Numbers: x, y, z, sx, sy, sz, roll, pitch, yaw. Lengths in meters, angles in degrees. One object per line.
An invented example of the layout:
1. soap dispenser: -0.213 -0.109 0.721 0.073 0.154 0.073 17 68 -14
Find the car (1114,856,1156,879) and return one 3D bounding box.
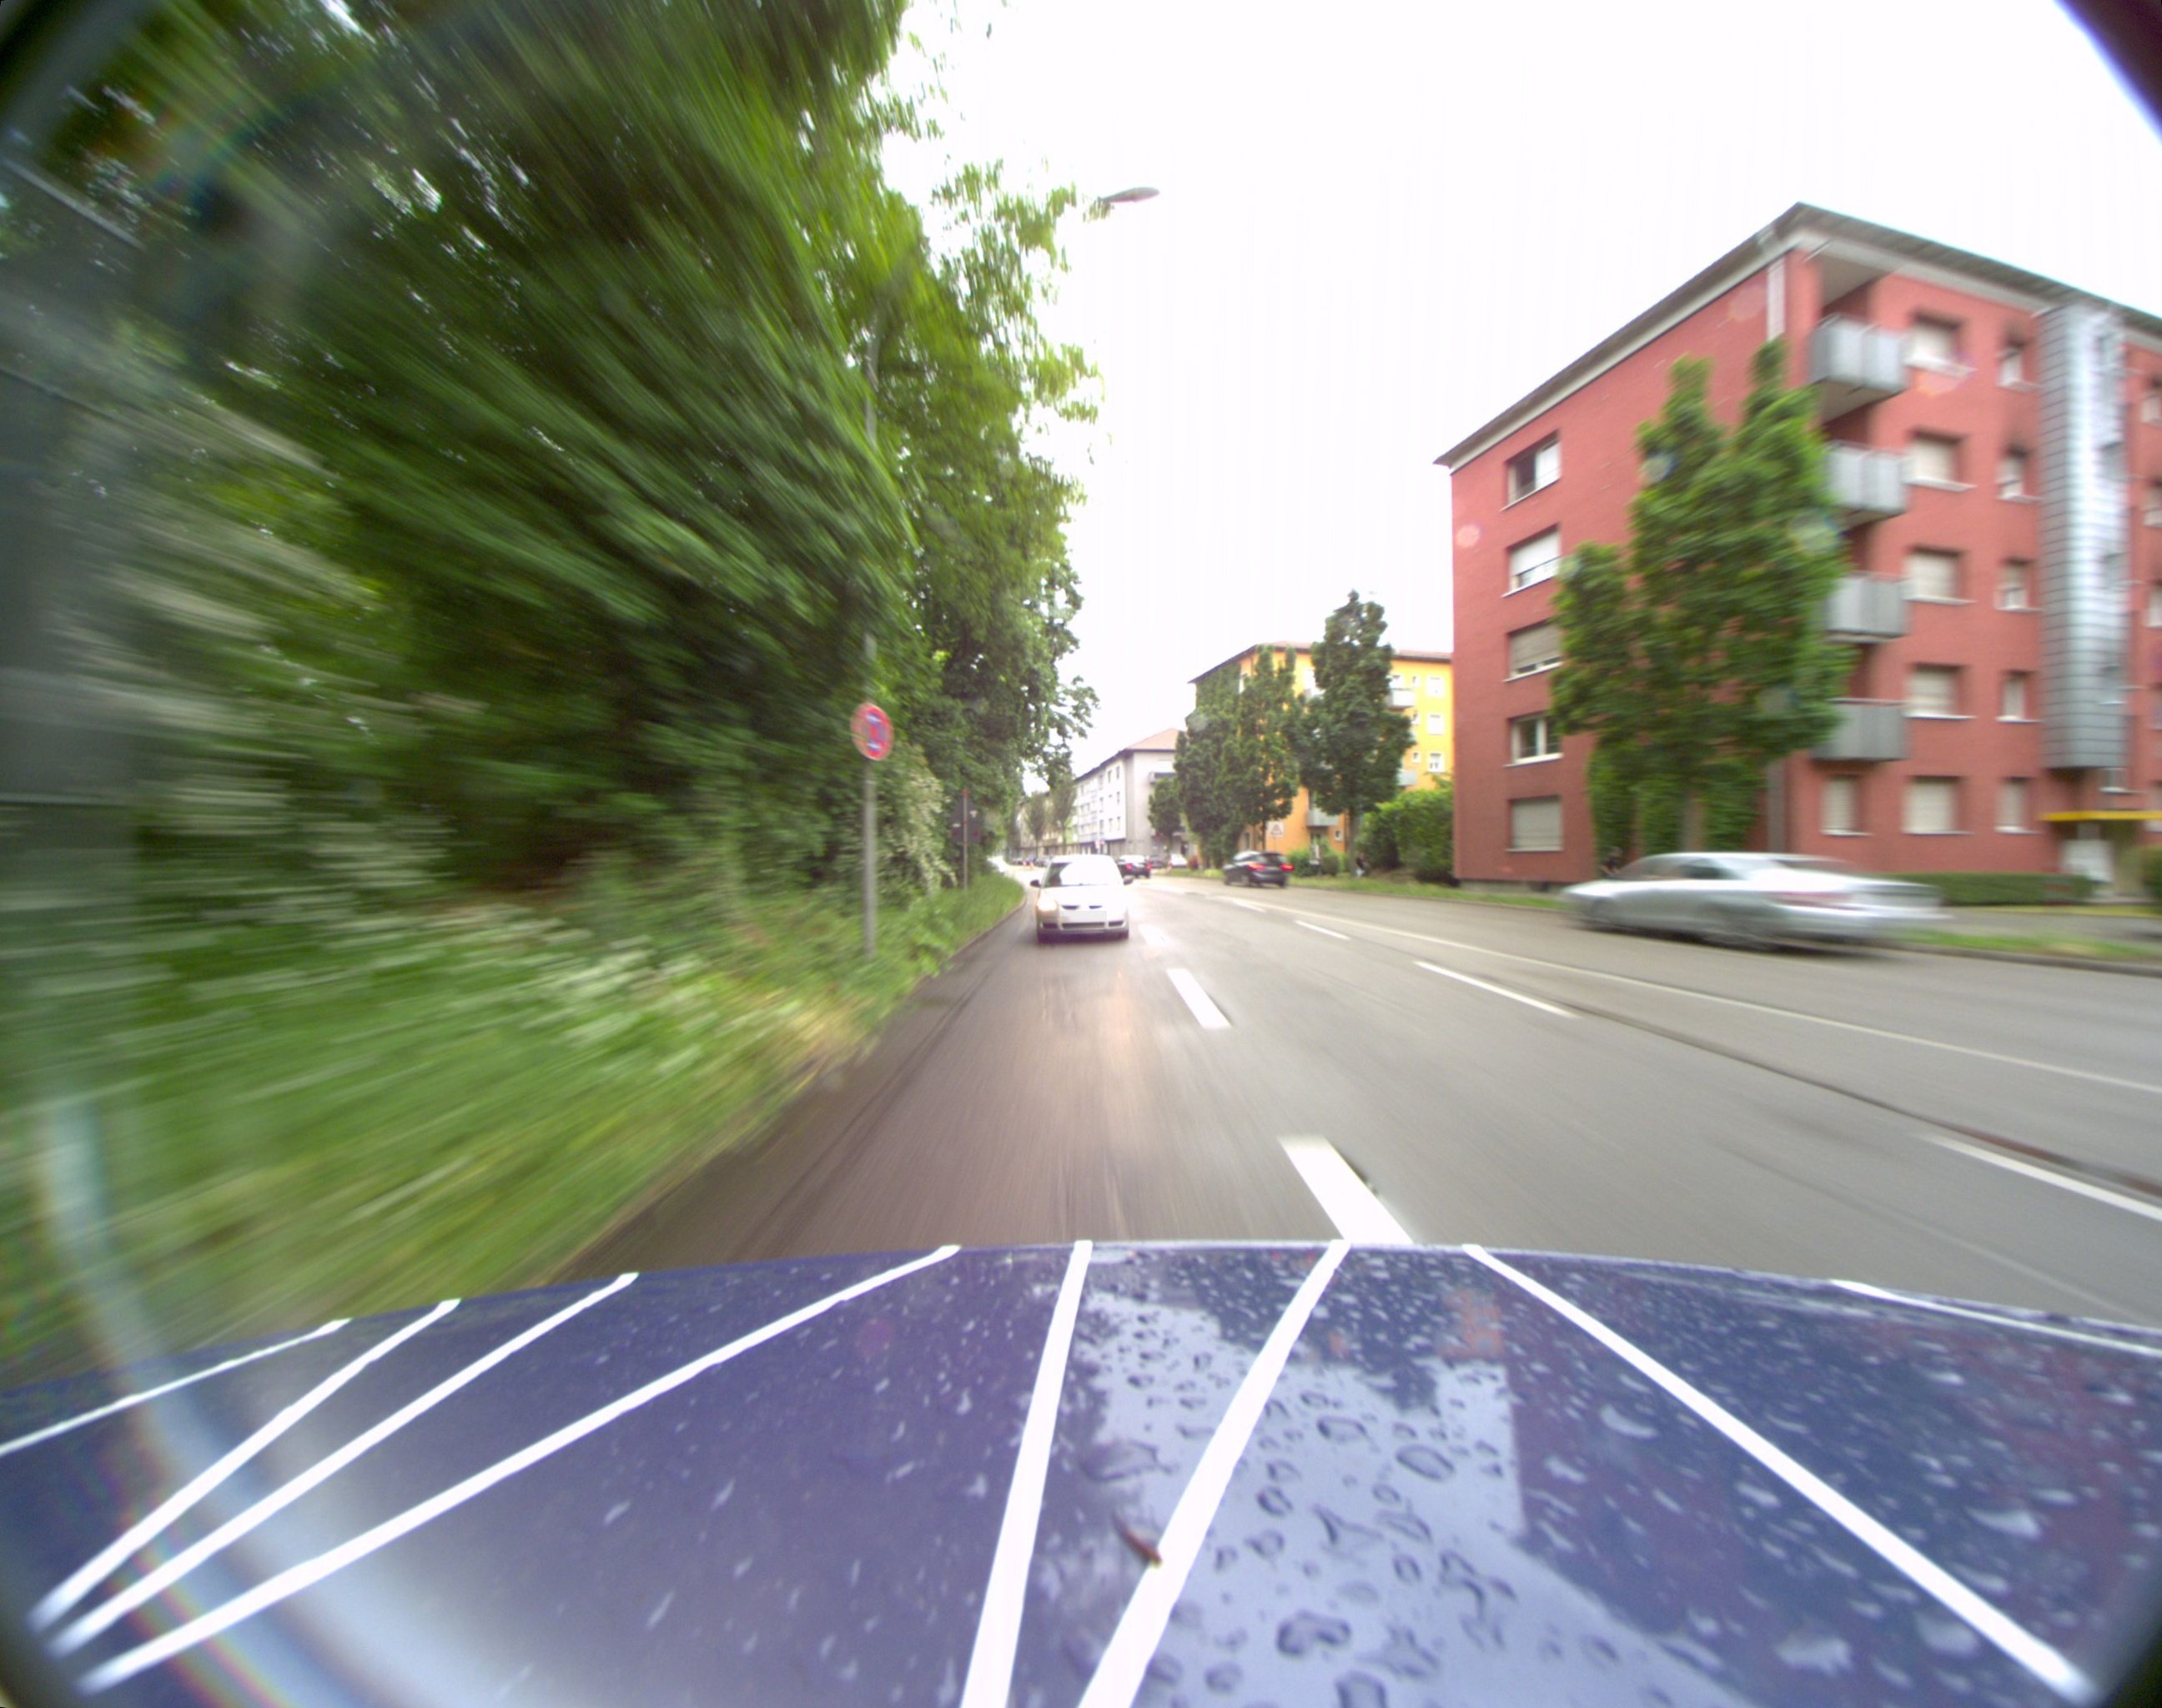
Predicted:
1. car: 3.314 0.814 47.476 1.847 1.377 4.358 1 0 -6

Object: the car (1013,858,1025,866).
1. car: -12.362 1.637 151.770 1.870 1.591 4.169 0 0 -13

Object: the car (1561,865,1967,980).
1. car: 9.962 0.886 11.741 1.879 1.382 4.625 1 0 -5

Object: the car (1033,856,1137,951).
1. car: 0.064 0.876 15.063 1.755 1.586 4.169 -1 -1 0

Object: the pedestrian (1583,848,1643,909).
1. pedestrian: 13.401 0.603 19.166 0.694 1.508 1.069 0 0 -9

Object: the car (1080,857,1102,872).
1. car: 1.157 1.244 90.853 1.853 1.536 4.243 -3 1 -10

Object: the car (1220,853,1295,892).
1. car: 7.784 0.797 33.957 1.880 1.593 4.462 1 0 -7

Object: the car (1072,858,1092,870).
1. car: 0.139 1.254 95.983 1.728 1.376 3.922 0 0 -12

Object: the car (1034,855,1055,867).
1. car: -5.017 0.946 103.345 1.929 1.621 4.495 1 -1 -15

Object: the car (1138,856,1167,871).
1. car: 7.573 1.007 80.975 1.857 1.477 4.630 -3 1 -11

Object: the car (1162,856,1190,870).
1. car: 10.141 0.965 81.656 1.736 1.516 4.225 0 0 -11

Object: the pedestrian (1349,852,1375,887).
1. pedestrian: 11.770 0.633 31.830 0.673 1.440 0.835 0 0 -9

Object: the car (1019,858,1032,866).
1. car: -10.585 1.507 145.719 1.870 1.558 4.169 0 0 -13

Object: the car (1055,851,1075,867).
1. car: -1.617 0.492 76.036 1.681 1.553 4.140 0 0 -5

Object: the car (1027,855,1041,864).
1. car: -8.535 0.968 137.011 1.870 1.504 3.996 -1 0 -13
